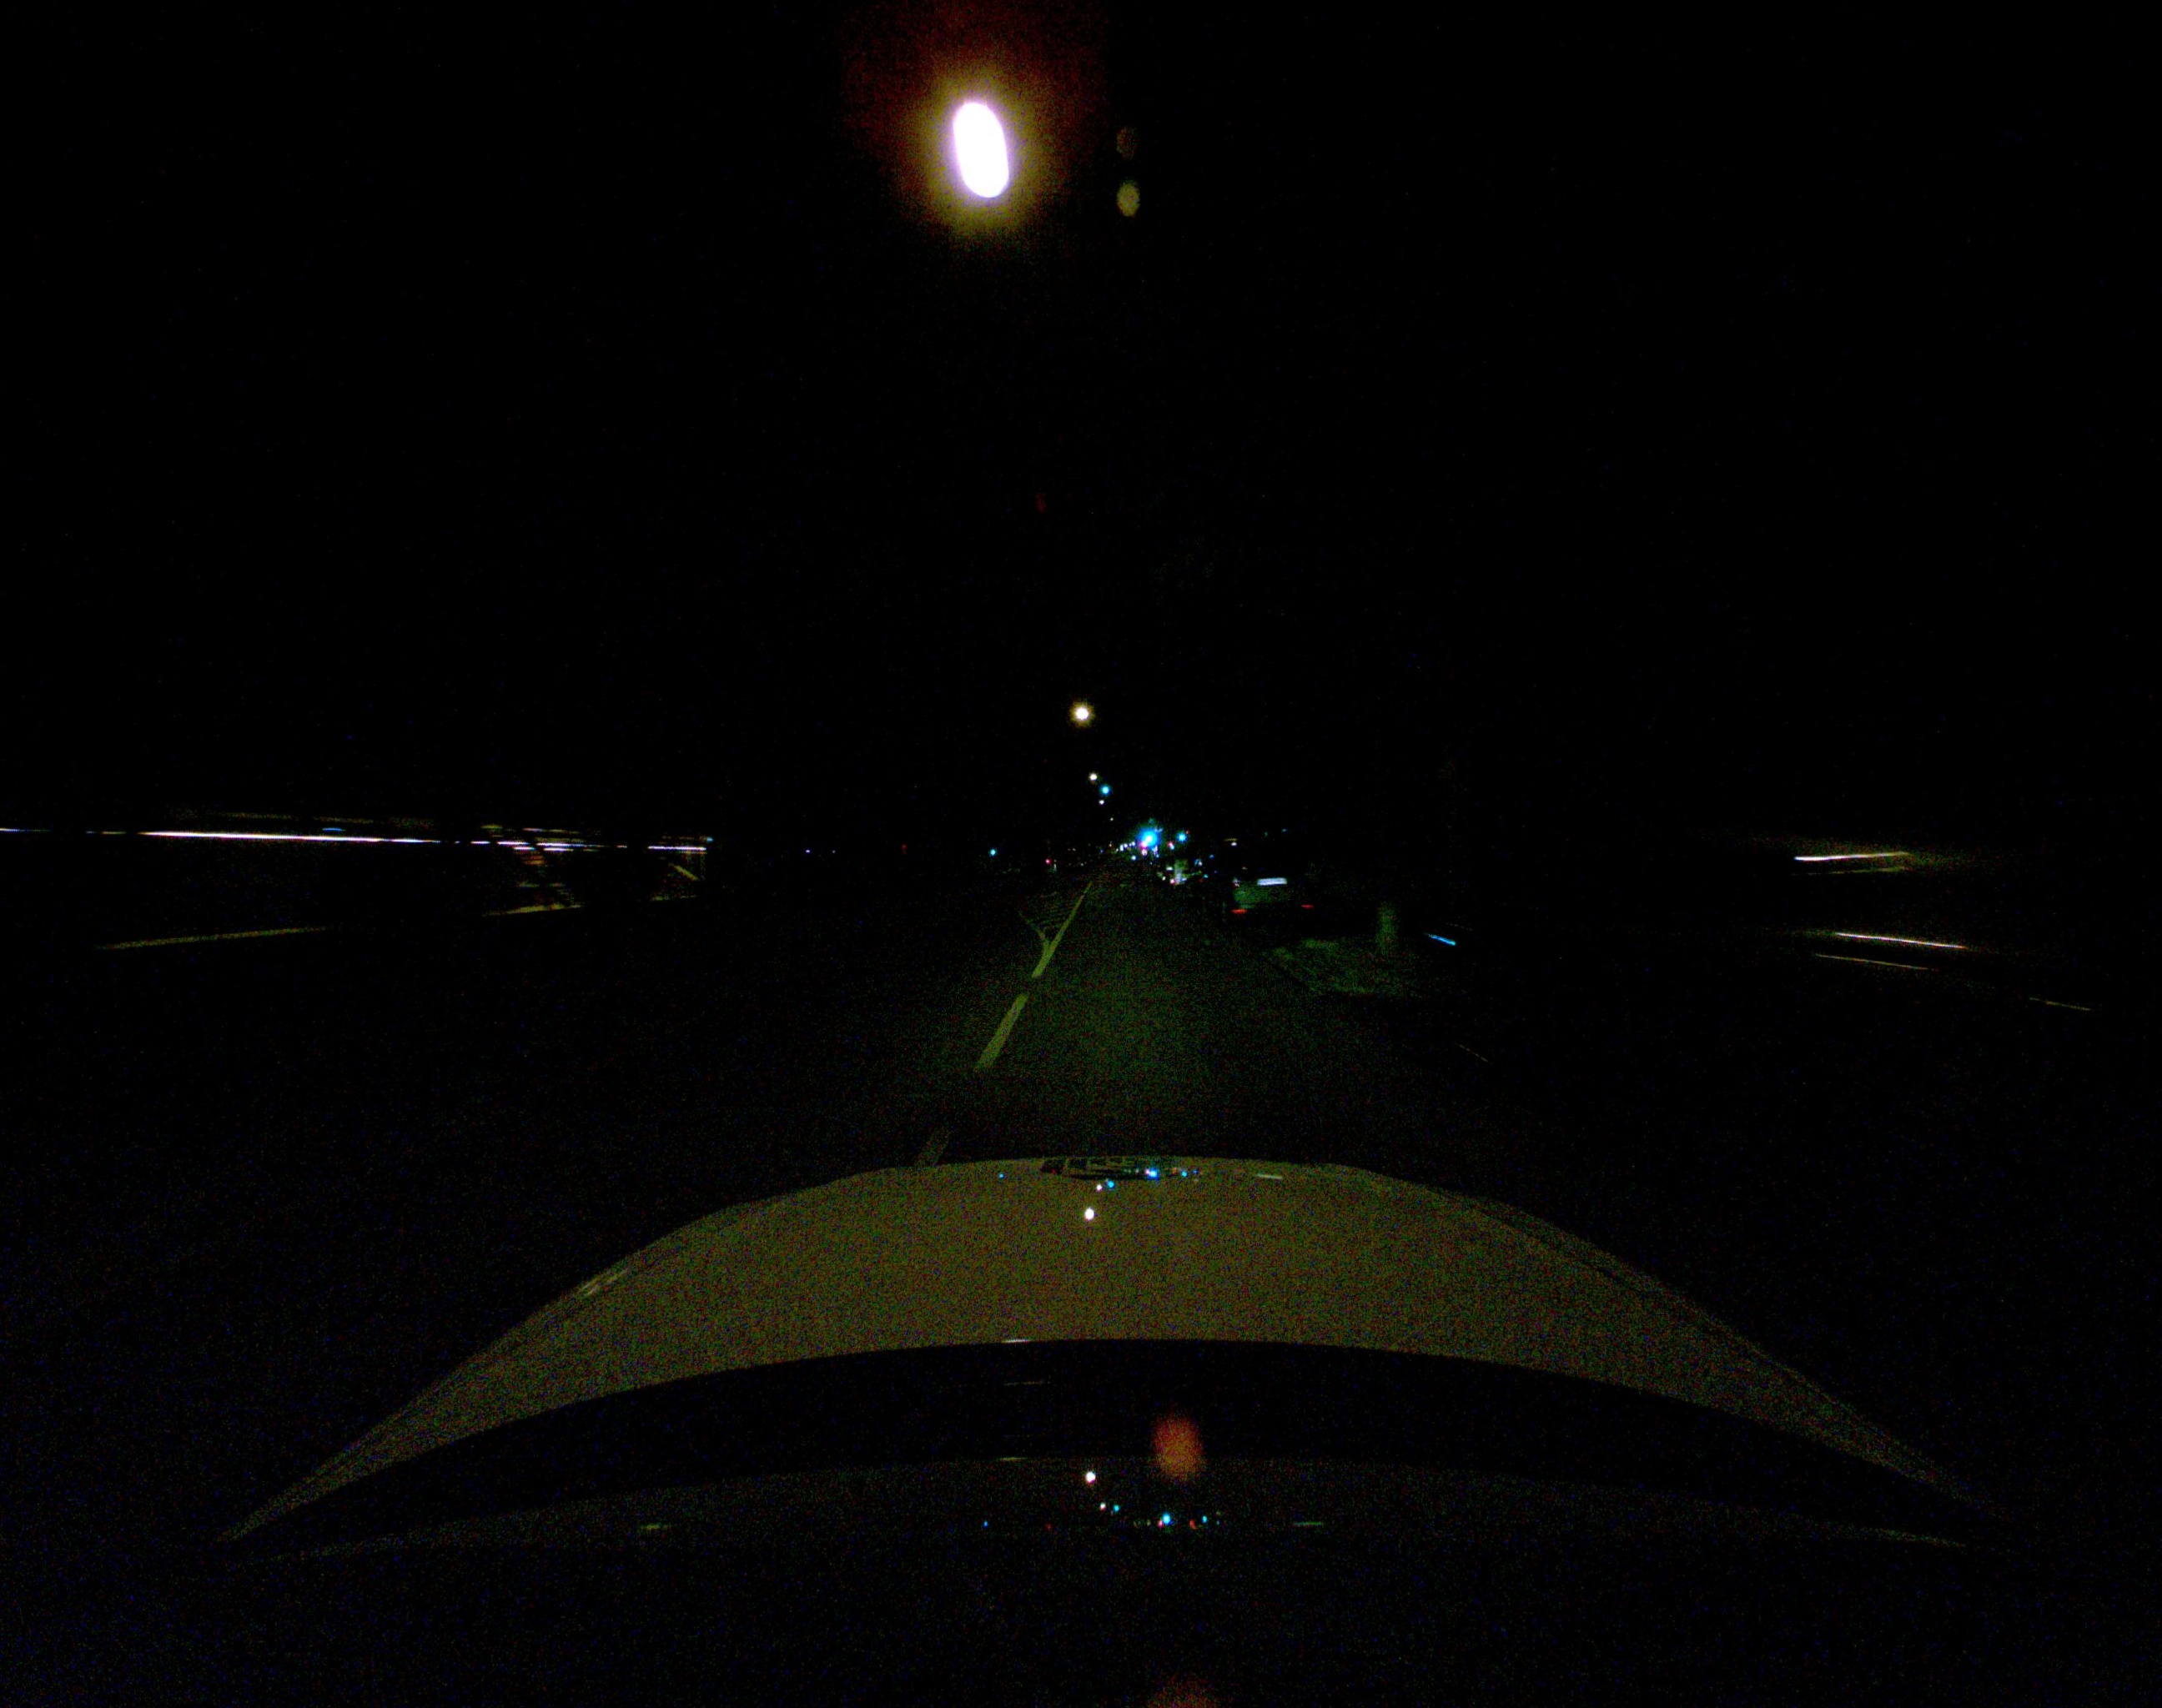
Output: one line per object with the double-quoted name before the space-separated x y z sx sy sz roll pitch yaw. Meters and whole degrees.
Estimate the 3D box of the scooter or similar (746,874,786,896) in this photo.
"scooter or similar" -14.756 1.460 38.168 1.667 1.008 0.545 0 0 3

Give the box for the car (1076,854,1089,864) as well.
"car" 0.259 0.755 121.971 1.734 1.415 3.755 -2 2 2

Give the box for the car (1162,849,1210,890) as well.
"car" 4.492 0.627 35.309 1.585 1.534 4.139 -4 0 1

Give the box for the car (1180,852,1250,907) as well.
"car" 3.869 0.693 24.026 1.514 1.396 3.987 -4 0 3

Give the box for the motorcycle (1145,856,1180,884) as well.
"motorcycle" 3.900 0.753 38.696 0.630 1.270 2.077 -2 0 36

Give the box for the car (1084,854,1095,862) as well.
"car" 1.563 0.765 149.497 1.734 1.416 3.754 -2 0 2

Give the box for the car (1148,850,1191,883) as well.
"car" 4.590 0.614 42.788 1.846 1.590 4.301 -2 0 1

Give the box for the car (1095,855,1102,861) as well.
"car" 4.480 1.110 205.748 1.734 1.416 3.754 -2 0 2

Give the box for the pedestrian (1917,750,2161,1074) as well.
"pedestrian" 5.766 0.308 4.817 0.703 1.721 0.822 -4 0 2

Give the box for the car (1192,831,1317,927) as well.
"car" 3.777 0.501 18.473 1.766 1.806 4.276 -4 0 -1

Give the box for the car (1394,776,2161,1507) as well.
"car" 3.255 0.583 3.925 1.846 1.604 4.210 -5 0 1

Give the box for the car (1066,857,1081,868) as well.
"car" -0.999 1.086 106.539 1.734 1.416 3.754 -2 0 2
